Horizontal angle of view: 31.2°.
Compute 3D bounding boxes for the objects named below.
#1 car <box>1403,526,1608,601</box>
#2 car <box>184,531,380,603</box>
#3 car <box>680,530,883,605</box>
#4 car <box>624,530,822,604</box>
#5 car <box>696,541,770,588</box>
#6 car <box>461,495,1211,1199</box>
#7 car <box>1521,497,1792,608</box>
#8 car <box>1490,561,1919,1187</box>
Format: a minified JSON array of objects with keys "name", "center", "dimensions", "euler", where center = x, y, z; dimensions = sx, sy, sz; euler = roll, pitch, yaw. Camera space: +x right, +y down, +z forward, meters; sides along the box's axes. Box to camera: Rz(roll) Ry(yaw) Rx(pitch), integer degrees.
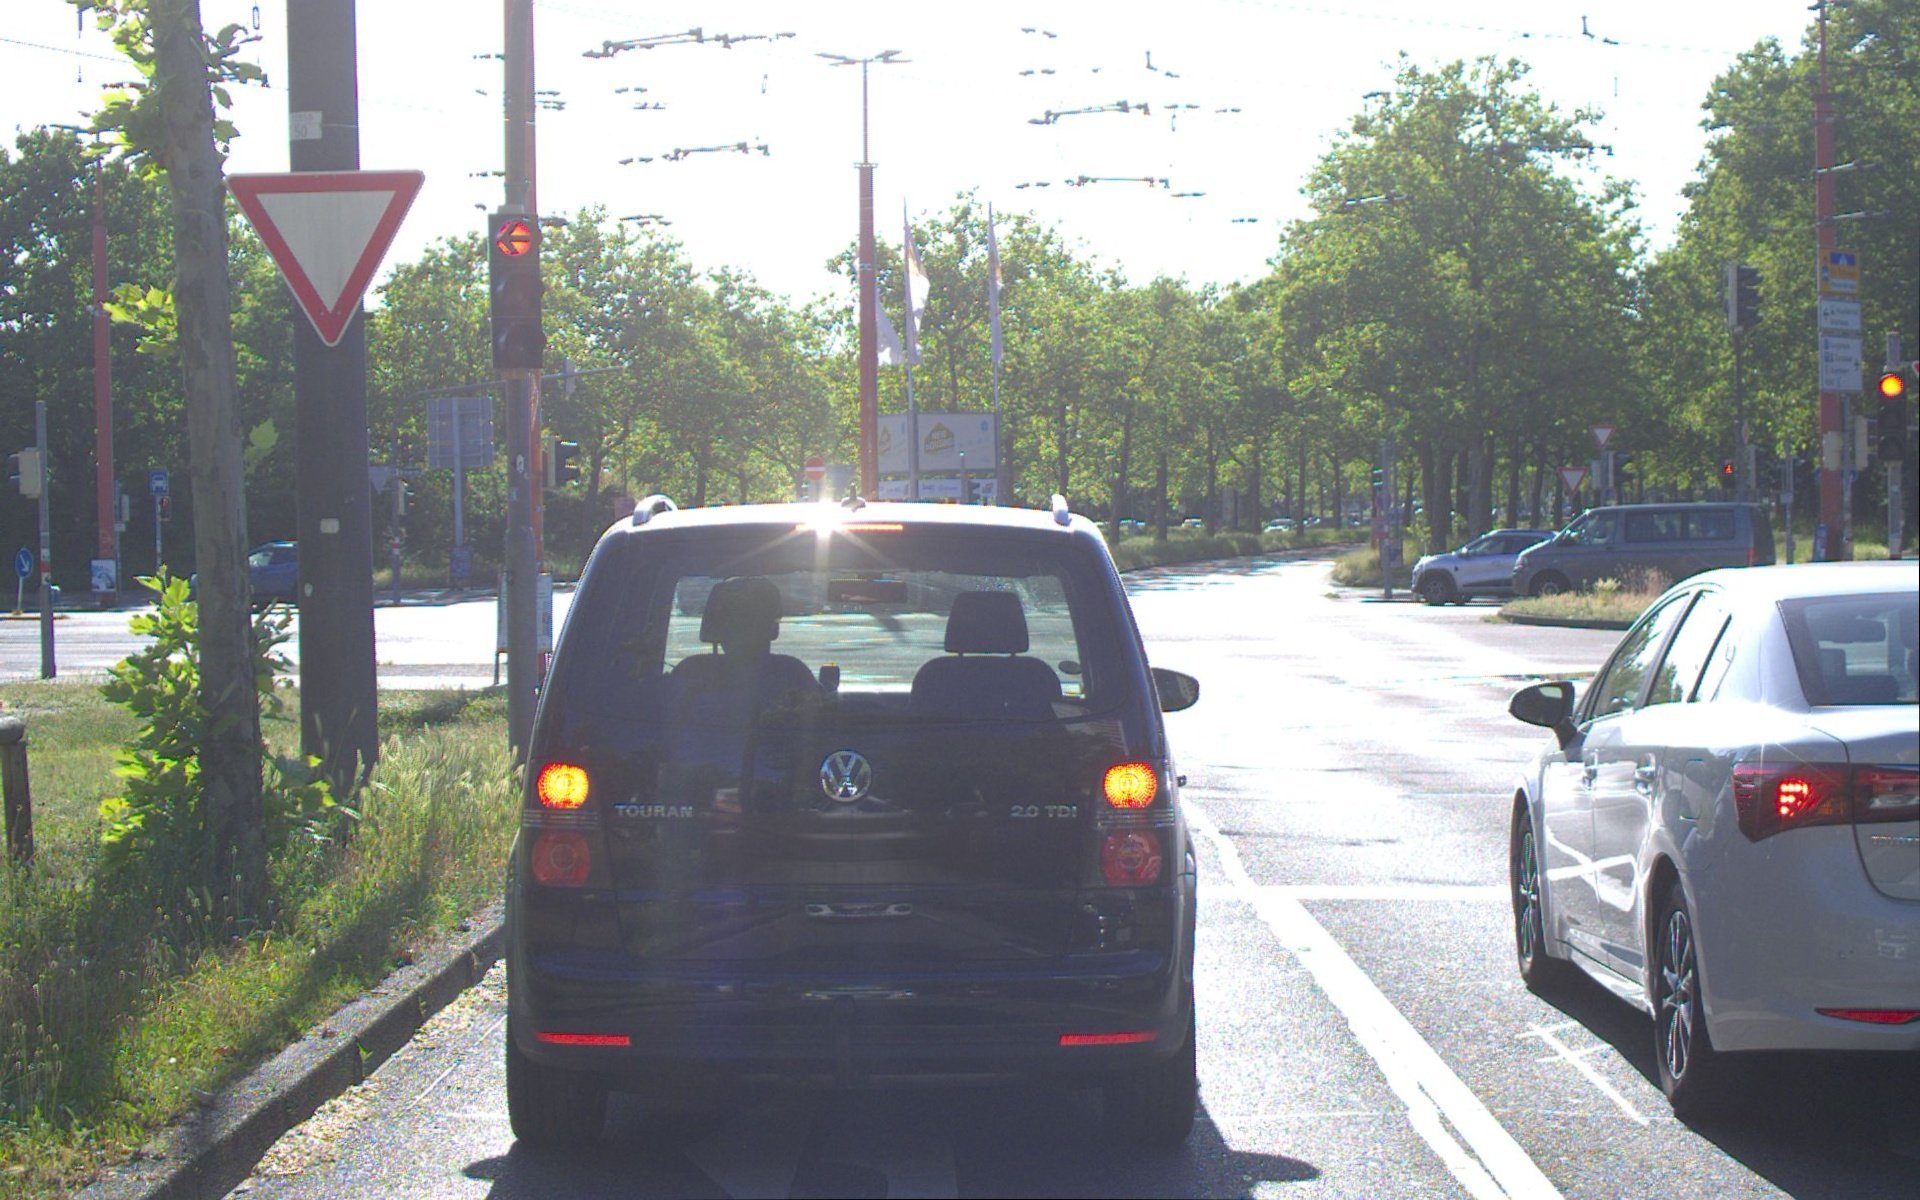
[{"name":"car","center":[10.887,-0.731,68.684],"dimensions":[3.741,1.468,1.598],"euler":[0,1,26]},{"name":"car","center":[-15.382,-0.752,77.993],"dimensions":[4.125,1.592,1.826],"euler":[0,1,27]},{"name":"car","center":[-3.988,-0.738,76.744],"dimensions":[4.125,1.638,1.850],"euler":[0,1,26]},{"name":"car","center":[-5.000,-0.697,72.447],"dimensions":[3.824,1.517,1.693],"euler":[0,1,25]},{"name":"car","center":[-8.155,-1.272,123.661],"dimensions":[1.915,1.630,3.999],"euler":[1,1,7]},{"name":"car","center":[-0.312,0.539,9.813],"dimensions":[1.700,1.616,3.897],"euler":[-1,1,-1]},{"name":"car","center":[12.957,-0.883,63.976],"dimensions":[4.577,2.007,1.997],"euler":[0,1,26]},{"name":"car","center":[2.715,0.620,10.098],"dimensions":[1.720,1.433,4.198],"euler":[1,1,1]}]
